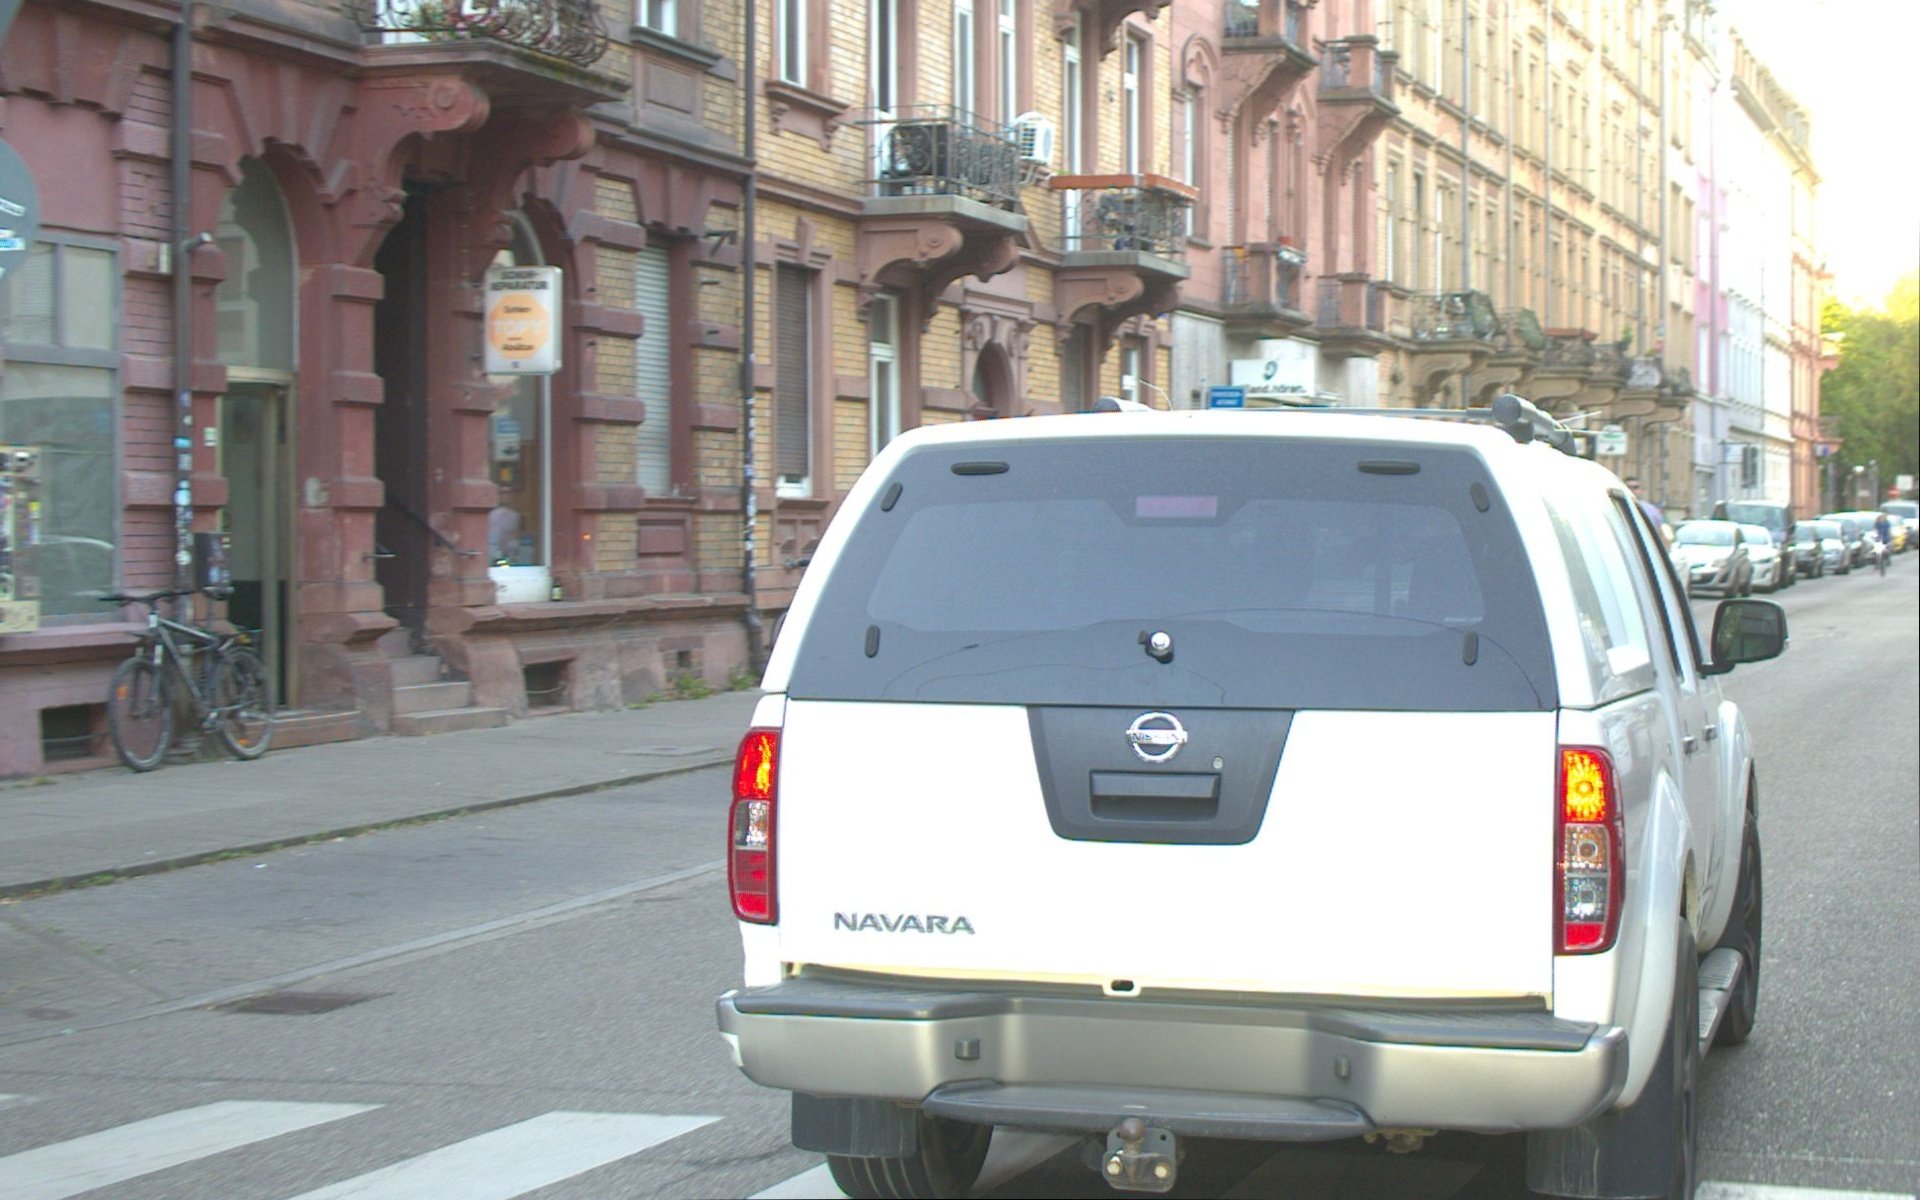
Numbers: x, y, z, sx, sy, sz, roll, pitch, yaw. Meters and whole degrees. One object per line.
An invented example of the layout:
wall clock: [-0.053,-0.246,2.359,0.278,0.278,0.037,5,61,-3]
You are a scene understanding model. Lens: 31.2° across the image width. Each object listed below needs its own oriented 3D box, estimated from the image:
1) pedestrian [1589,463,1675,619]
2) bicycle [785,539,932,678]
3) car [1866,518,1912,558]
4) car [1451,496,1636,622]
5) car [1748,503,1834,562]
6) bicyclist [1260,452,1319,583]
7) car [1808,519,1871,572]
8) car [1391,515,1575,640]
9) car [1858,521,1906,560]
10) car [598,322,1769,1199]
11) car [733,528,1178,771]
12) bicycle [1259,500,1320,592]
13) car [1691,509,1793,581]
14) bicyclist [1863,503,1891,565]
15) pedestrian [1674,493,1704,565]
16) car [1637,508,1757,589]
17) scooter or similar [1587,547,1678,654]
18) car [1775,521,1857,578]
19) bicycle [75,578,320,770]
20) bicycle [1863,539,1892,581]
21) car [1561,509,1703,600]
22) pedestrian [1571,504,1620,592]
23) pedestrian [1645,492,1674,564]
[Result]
pedestrian: [7.193,-0.632,36.781,0.808,1.654,0.672,0,1,19]
bicycle: [-0.896,0.053,30.902,0.528,1.167,2.045,3,2,21]
car: [37.292,-2.503,137.947,1.700,1.547,4.019,2,2,16]
car: [8.157,-0.612,47.787,1.855,1.628,4.442,2,2,18]
car: [21.173,-1.703,87.496,1.738,1.413,4.774,2,1,18]
bicyclist: [4.396,-1.093,45.908,0.708,1.723,0.843,1,0,3]
car: [26.997,-1.695,105.456,1.637,1.560,3.778,2,2,17]
car: [6.500,-0.314,42.489,1.586,1.415,3.693,1,2,19]
car: [35.497,-2.292,132.302,1.700,1.421,4.019,2,2,16]
car: [0.946,0.396,8.626,1.912,1.847,5.267,2,1,15]
car: [0.066,0.258,23.003,1.695,1.415,3.850,2,2,21]
bicycle: [4.386,-0.719,45.883,0.708,1.192,1.741,1,1,3]
car: [16.757,-1.196,73.551,1.785,1.418,4.482,3,2,16]
bicyclist: [24.499,-1.762,91.875,0.645,1.615,0.918,-1,1,13]
pedestrian: [18.449,-1.805,87.026,0.605,1.766,0.777,3,3,14]
car: [14.252,-1.018,66.388,1.718,1.452,3.996,2,2,19]
scooter or similar: [7.201,0.000,36.795,0.808,1.100,1.171,0,2,19]
car: [24.024,-1.429,96.350,1.836,1.453,4.203,3,2,18]
bicycle: [-4.496,0.413,20.396,0.426,1.049,1.896,1,2,22]
bicycle: [24.516,-1.083,91.873,0.645,1.077,2.167,-1,1,13]
car: [11.303,-0.798,57.629,1.760,1.407,4.505,2,2,18]
pedestrian: [12.793,-1.042,69.234,0.555,1.749,1.020,1,0,36]
pedestrian: [17.718,-1.831,87.017,0.580,1.765,0.997,3,3,14]
